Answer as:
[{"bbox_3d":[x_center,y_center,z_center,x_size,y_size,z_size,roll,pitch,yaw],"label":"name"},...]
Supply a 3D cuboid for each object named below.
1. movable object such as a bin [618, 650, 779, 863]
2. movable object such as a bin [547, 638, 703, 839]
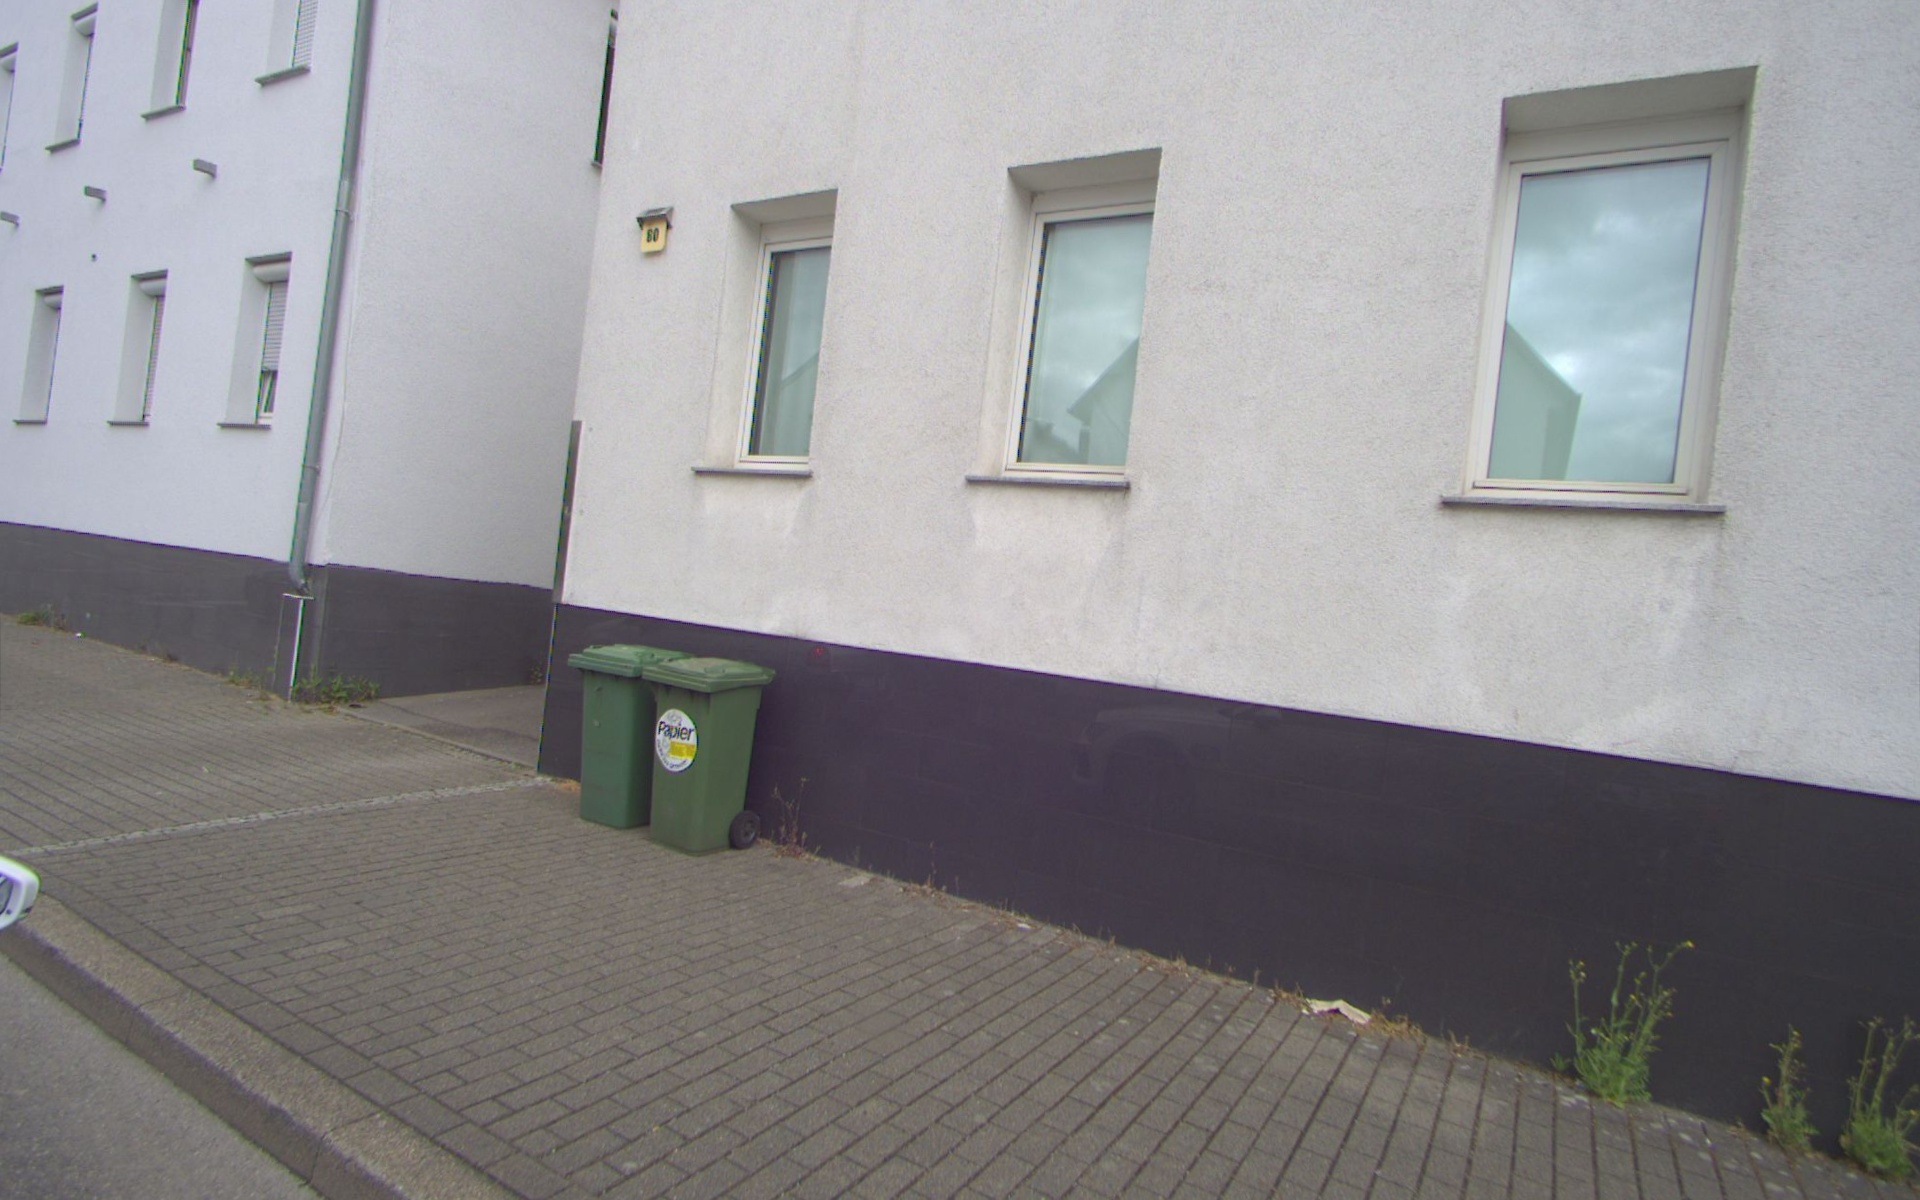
[{"bbox_3d":[-1.317,0.758,5.097,0.479,0.953,0.540,7,2,32],"label":"movable object such as a bin"},{"bbox_3d":[-1.775,0.704,5.354,0.479,0.953,0.540,7,2,32],"label":"movable object such as a bin"}]
